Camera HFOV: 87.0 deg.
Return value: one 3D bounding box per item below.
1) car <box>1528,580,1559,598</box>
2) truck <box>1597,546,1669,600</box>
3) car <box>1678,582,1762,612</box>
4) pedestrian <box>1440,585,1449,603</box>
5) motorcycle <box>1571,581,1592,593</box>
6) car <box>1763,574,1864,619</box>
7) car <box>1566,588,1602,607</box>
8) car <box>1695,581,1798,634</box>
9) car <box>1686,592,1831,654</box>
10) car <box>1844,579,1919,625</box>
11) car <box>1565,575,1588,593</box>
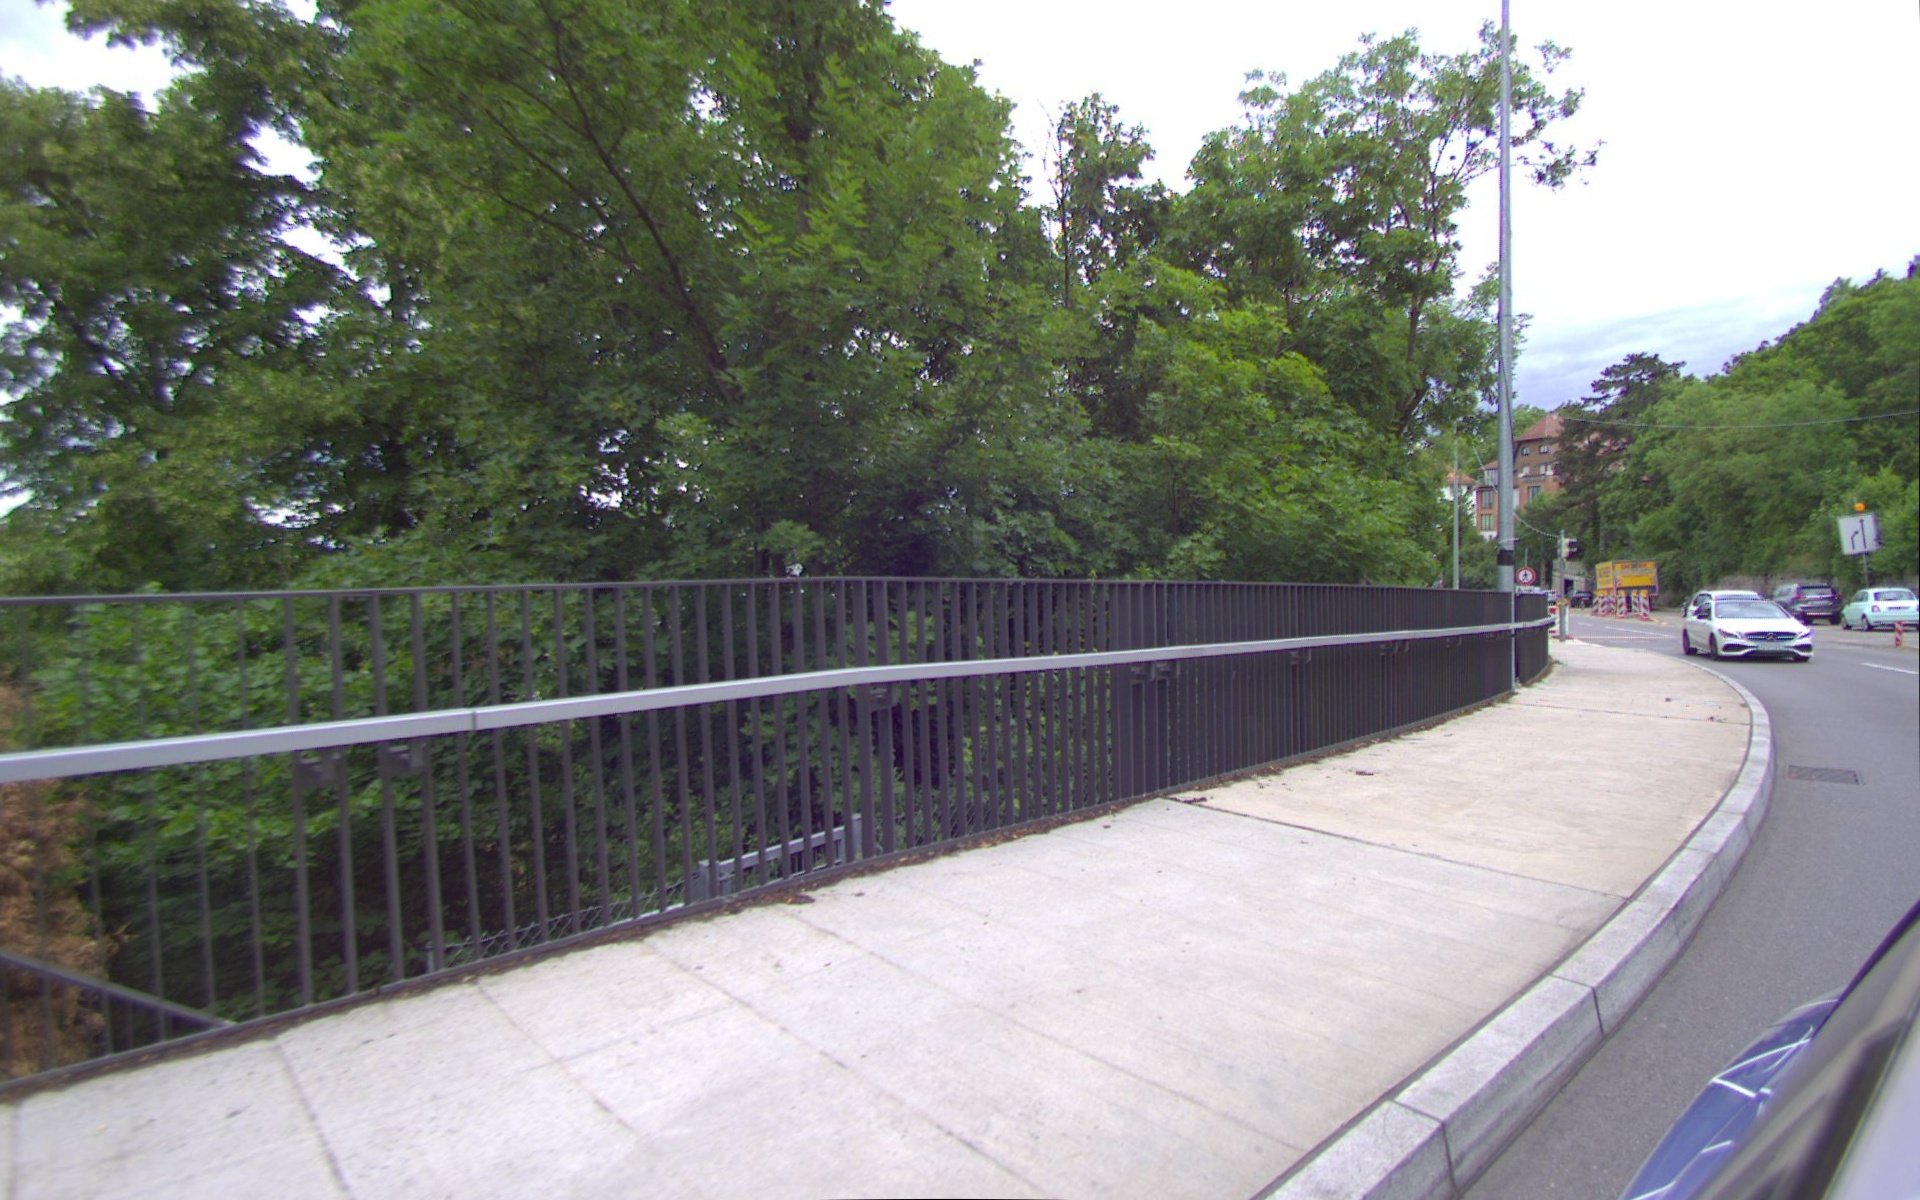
[{"bbox_3d":[61.951,-1.141,107.431,1.784,1.813,4.319,-3,0,17],"label":"car"},{"bbox_3d":[47.007,-1.829,70.888,2.708,3.554,7.295,-1,0,23],"label":"truck"},{"bbox_3d":[39.682,-0.164,52.987,1.789,1.448,4.851,-2,0,15],"label":"car"},{"bbox_3d":[52.152,-0.662,108.843,0.630,1.883,0.832,1,0,11],"label":"pedestrian"},{"bbox_3d":[69.387,-1.422,112.998,1.825,1.197,0.632,-3,4,26],"label":"motorcycle"},{"bbox_3d":[35.583,-0.143,42.323,1.868,1.718,4.635,-2,0,23],"label":"car"},{"bbox_3d":[52.520,-0.220,85.250,1.755,1.460,4.711,-3,0,22],"label":"car"},{"bbox_3d":[26.018,0.211,33.638,1.868,1.598,3.964,-3,0,26],"label":"car"},{"bbox_3d":[18.829,0.505,24.058,1.780,1.323,4.065,-1,0,25],"label":"car"},{"bbox_3d":[32.306,0.044,34.969,1.699,1.485,3.626,-3,-1,27],"label":"car"},{"bbox_3d":[70.096,-1.821,115.048,1.555,1.623,3.565,-3,4,22],"label":"car"}]
